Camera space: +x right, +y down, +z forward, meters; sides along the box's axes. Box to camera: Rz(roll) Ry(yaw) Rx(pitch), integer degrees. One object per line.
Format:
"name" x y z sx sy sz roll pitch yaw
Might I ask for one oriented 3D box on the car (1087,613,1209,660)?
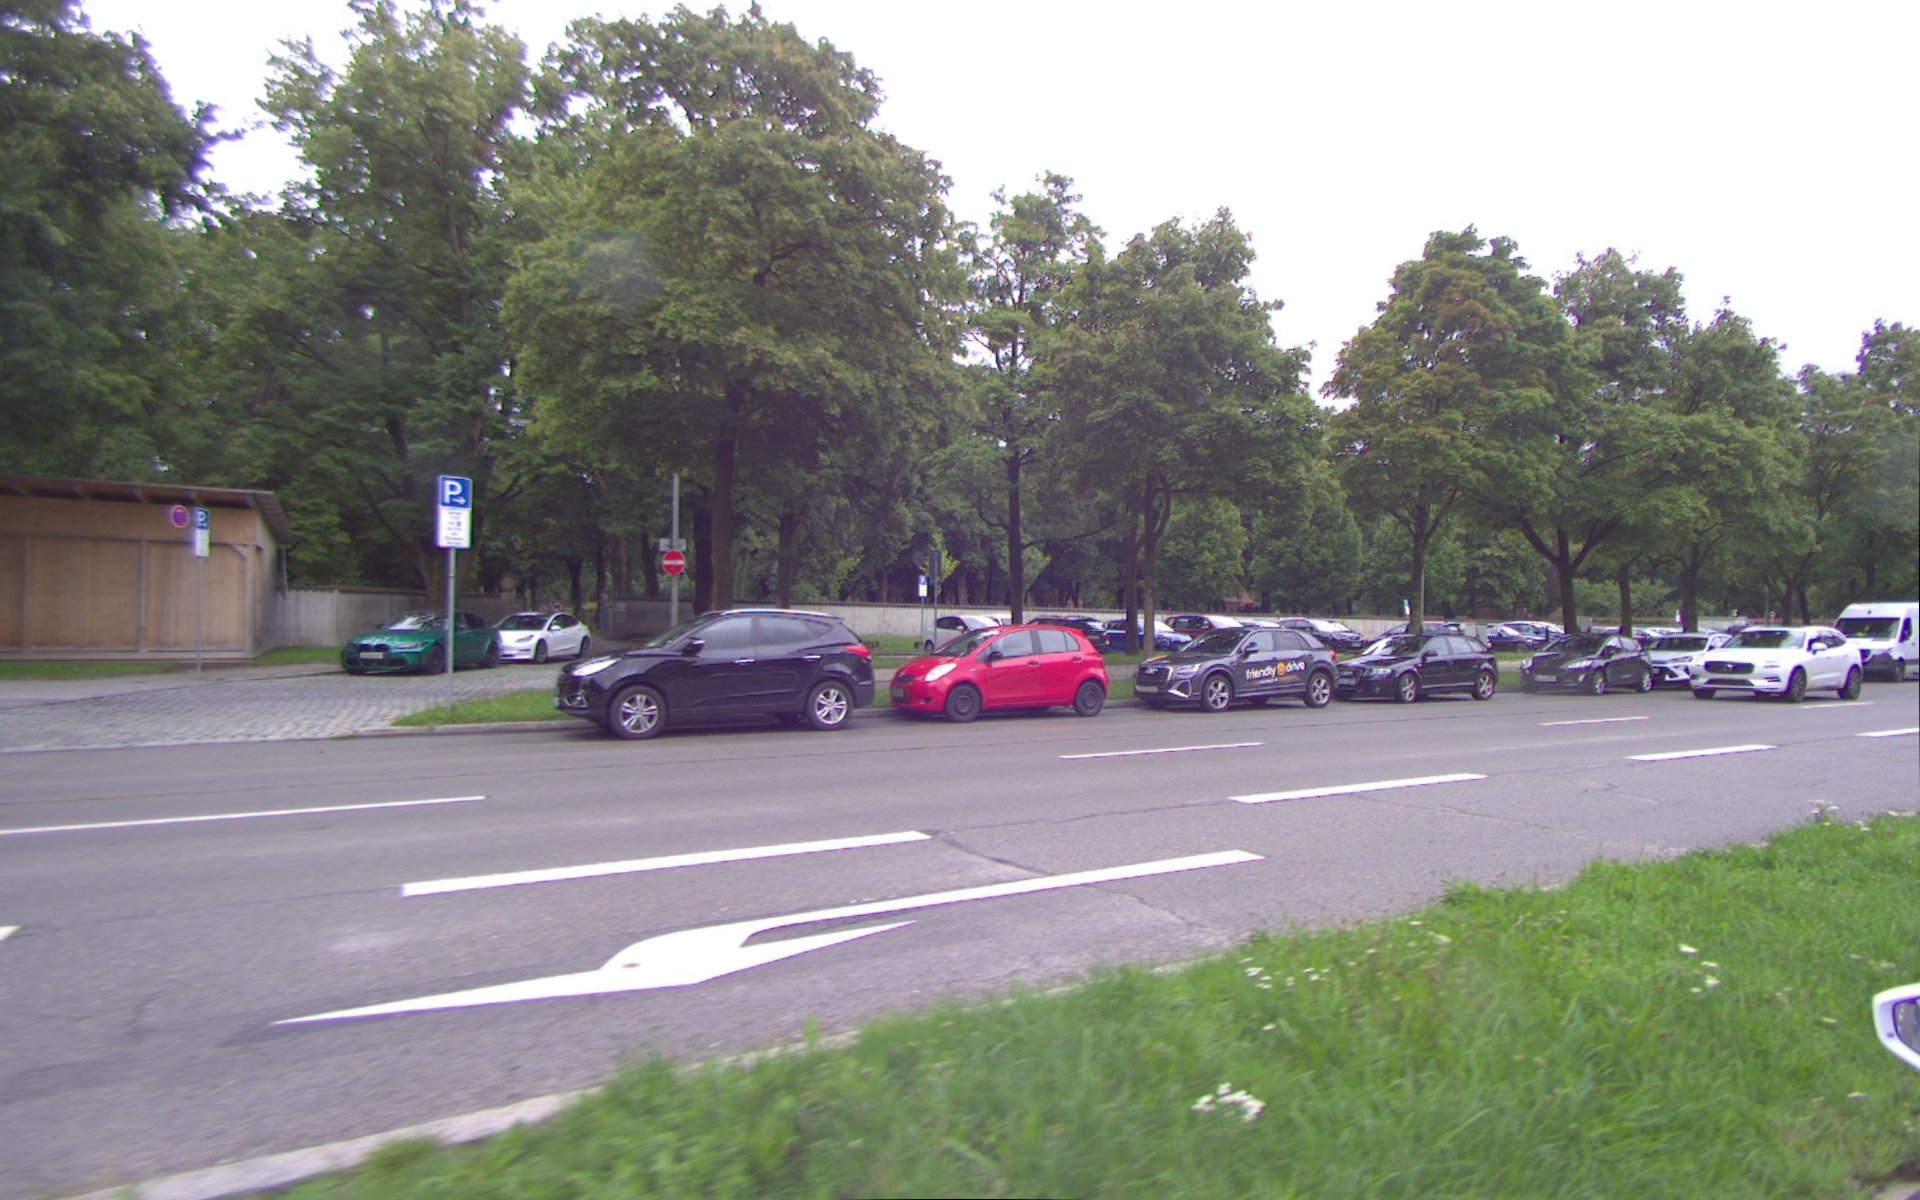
"car" 6.505 1.241 35.077 1.980 1.461 3.962 1 -1 -34

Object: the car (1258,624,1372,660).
"car" 13.721 1.596 38.998 1.673 1.275 3.960 1 -1 -35

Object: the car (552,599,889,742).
"car" -3.286 0.931 14.000 4.191 1.722 1.812 3 -1 -31

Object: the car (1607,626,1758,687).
"car" 19.677 1.550 27.339 4.250 1.547 1.813 3 -3 -31

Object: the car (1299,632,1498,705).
"car" 9.335 1.416 21.358 3.949 1.428 1.815 1 -2 -28

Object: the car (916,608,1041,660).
"car" 0.508 1.015 31.368 1.980 1.461 3.962 1 -1 -34

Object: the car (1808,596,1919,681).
"car" 31.945 1.306 34.420 7.019 2.678 2.130 1 -2 -30

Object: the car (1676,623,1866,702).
"car" 18.255 1.364 22.576 4.349 1.621 1.843 1 -3 -29

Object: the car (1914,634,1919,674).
"car" 38.193 2.114 38.098 4.203 1.510 1.848 3 -1 -31

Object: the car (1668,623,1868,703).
"car" 18.366 1.377 22.800 4.628 1.641 2.016 1 -2 -30

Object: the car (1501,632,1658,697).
"car" 15.205 1.536 24.617 3.959 1.466 1.810 2 -2 -34

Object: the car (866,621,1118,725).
"car" 0.553 1.176 16.573 3.766 1.499 1.812 3 -1 -31

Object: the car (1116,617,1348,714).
"car" 5.094 1.176 18.766 4.061 1.620 1.814 2 -1 -28

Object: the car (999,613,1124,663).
"car" 3.209 1.175 32.510 1.977 1.461 4.113 1 -1 -31

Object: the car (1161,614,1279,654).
"car" 9.251 1.187 36.056 1.723 1.301 3.962 1 -1 -34

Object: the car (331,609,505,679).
"car" -12.310 0.949 23.124 1.822 1.428 3.860 1 -1 1

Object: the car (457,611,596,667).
"car" -12.224 1.046 28.673 1.822 1.428 4.471 1 -1 3

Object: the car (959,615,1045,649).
"car" 1.890 1.455 46.945 1.976 1.461 4.485 1 -1 -29

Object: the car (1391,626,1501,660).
"car" 21.033 1.836 43.615 1.794 1.356 3.966 1 -1 -31

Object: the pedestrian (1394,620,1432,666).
"pedestrian" 15.003 1.414 33.289 0.846 1.515 0.791 1 -1 -29

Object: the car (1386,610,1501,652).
"car" 19.575 1.227 40.820 1.791 1.591 3.972 1 -1 -27

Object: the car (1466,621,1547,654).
"car" 37.245 2.509 68.539 1.976 2.061 4.485 1 -1 -29

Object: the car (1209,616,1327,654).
"car" 11.287 1.256 37.064 1.724 1.301 3.960 1 -1 -35
